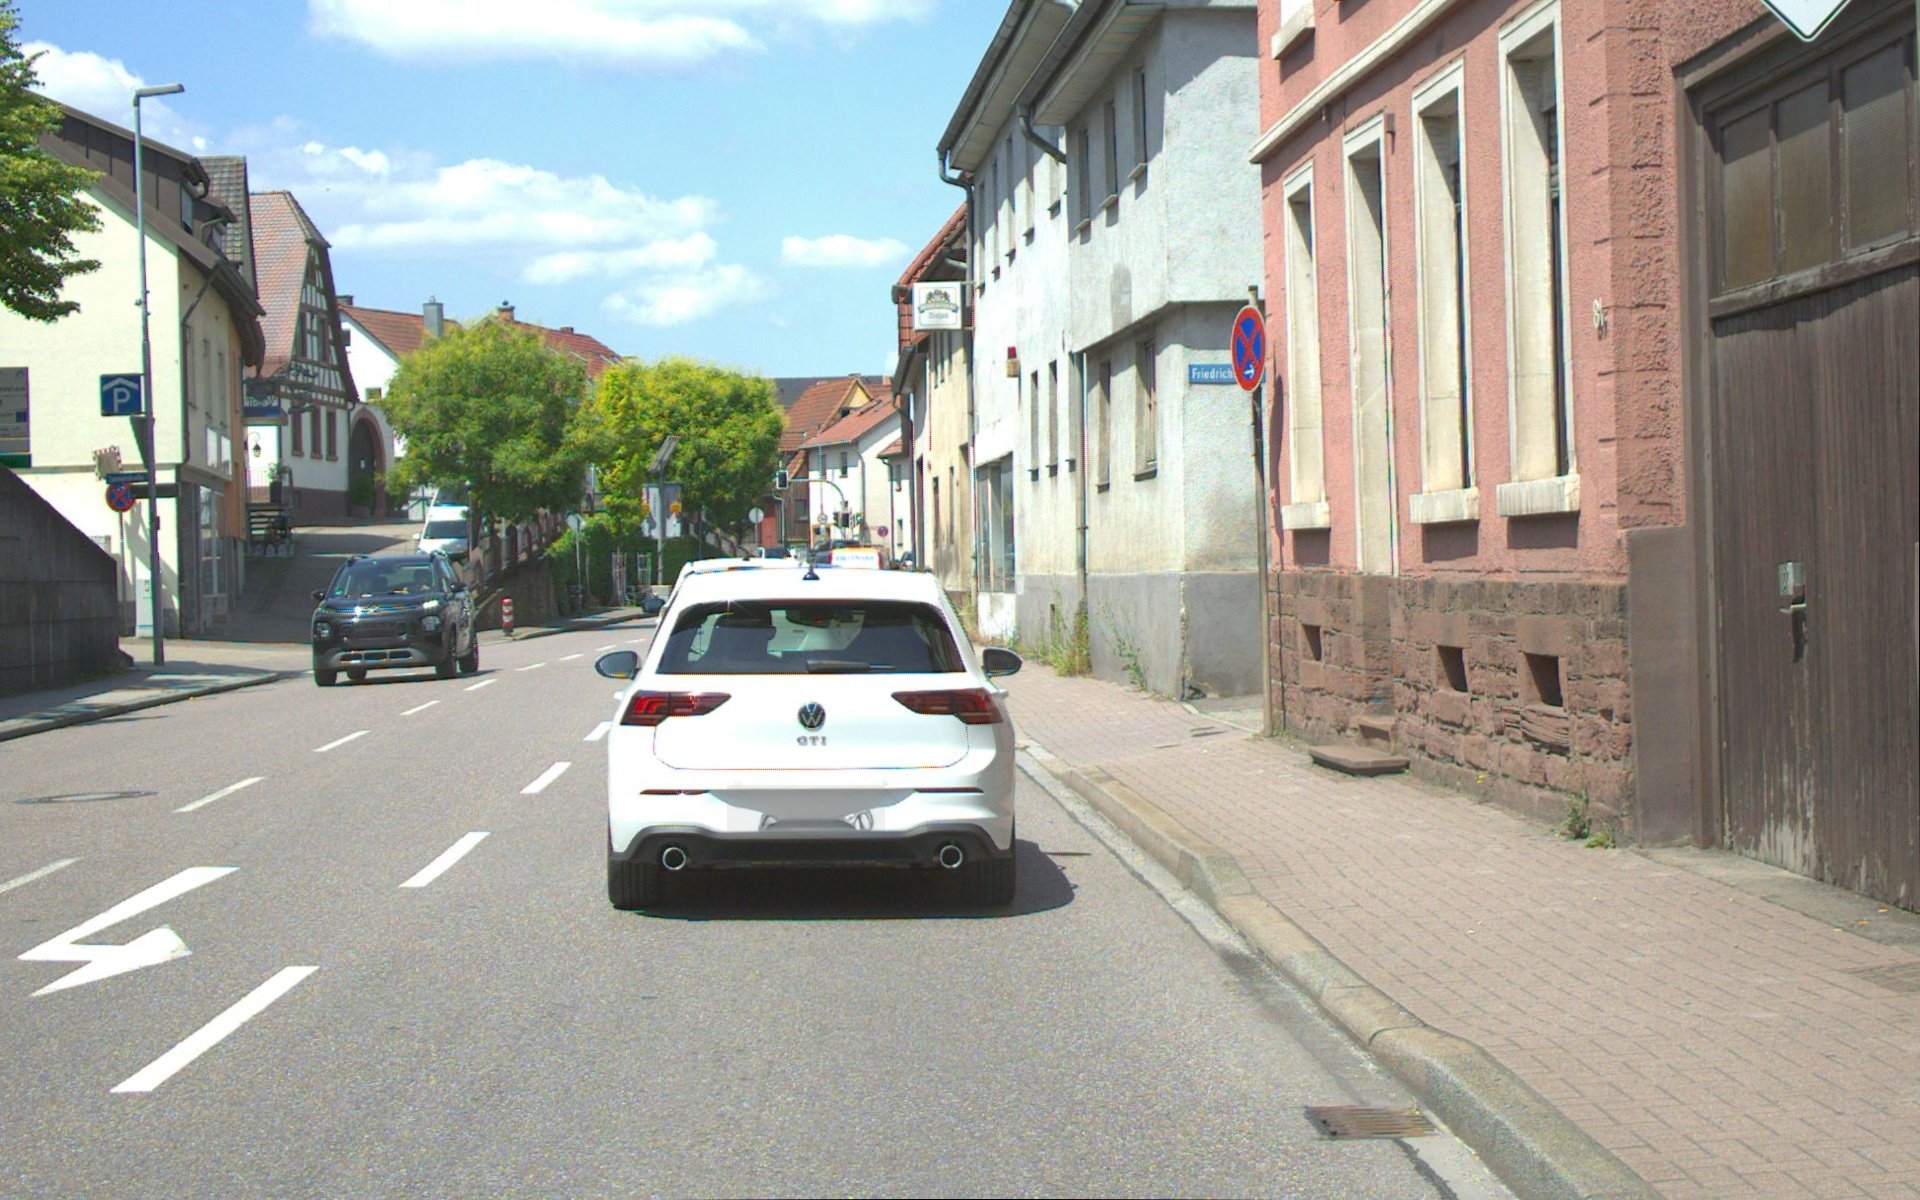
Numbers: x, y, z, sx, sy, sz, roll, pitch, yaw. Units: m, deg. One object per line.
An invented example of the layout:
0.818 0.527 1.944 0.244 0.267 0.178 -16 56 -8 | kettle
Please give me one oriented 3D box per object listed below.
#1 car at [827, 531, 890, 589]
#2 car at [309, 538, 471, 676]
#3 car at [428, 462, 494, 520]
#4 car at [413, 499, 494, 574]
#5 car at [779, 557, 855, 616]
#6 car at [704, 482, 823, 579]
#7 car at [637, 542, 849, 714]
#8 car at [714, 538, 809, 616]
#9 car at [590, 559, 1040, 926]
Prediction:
-3.219 -1.287 109.486 1.775 1.759 4.000 -1 1 1 | car
-7.245 0.052 43.975 1.669 1.652 4.018 -1 1 -5 | car
-14.465 -3.194 99.794 1.576 1.357 3.857 -1 6 -4 | car
-12.817 -1.626 87.144 1.693 1.537 3.857 -1 6 -4 | car
-3.908 -0.389 94.329 1.775 1.533 4.000 -1 1 2 | car
-3.145 -1.089 54.884 1.807 1.462 4.001 1 0 -4 | car
-2.038 0.222 31.645 1.807 1.462 4.001 1 0 -5 | car
-4.070 -0.492 70.980 1.775 1.533 4.000 -1 1 -1 | car
-0.543 0.560 15.946 1.808 1.462 4.000 1 0 1 | car
